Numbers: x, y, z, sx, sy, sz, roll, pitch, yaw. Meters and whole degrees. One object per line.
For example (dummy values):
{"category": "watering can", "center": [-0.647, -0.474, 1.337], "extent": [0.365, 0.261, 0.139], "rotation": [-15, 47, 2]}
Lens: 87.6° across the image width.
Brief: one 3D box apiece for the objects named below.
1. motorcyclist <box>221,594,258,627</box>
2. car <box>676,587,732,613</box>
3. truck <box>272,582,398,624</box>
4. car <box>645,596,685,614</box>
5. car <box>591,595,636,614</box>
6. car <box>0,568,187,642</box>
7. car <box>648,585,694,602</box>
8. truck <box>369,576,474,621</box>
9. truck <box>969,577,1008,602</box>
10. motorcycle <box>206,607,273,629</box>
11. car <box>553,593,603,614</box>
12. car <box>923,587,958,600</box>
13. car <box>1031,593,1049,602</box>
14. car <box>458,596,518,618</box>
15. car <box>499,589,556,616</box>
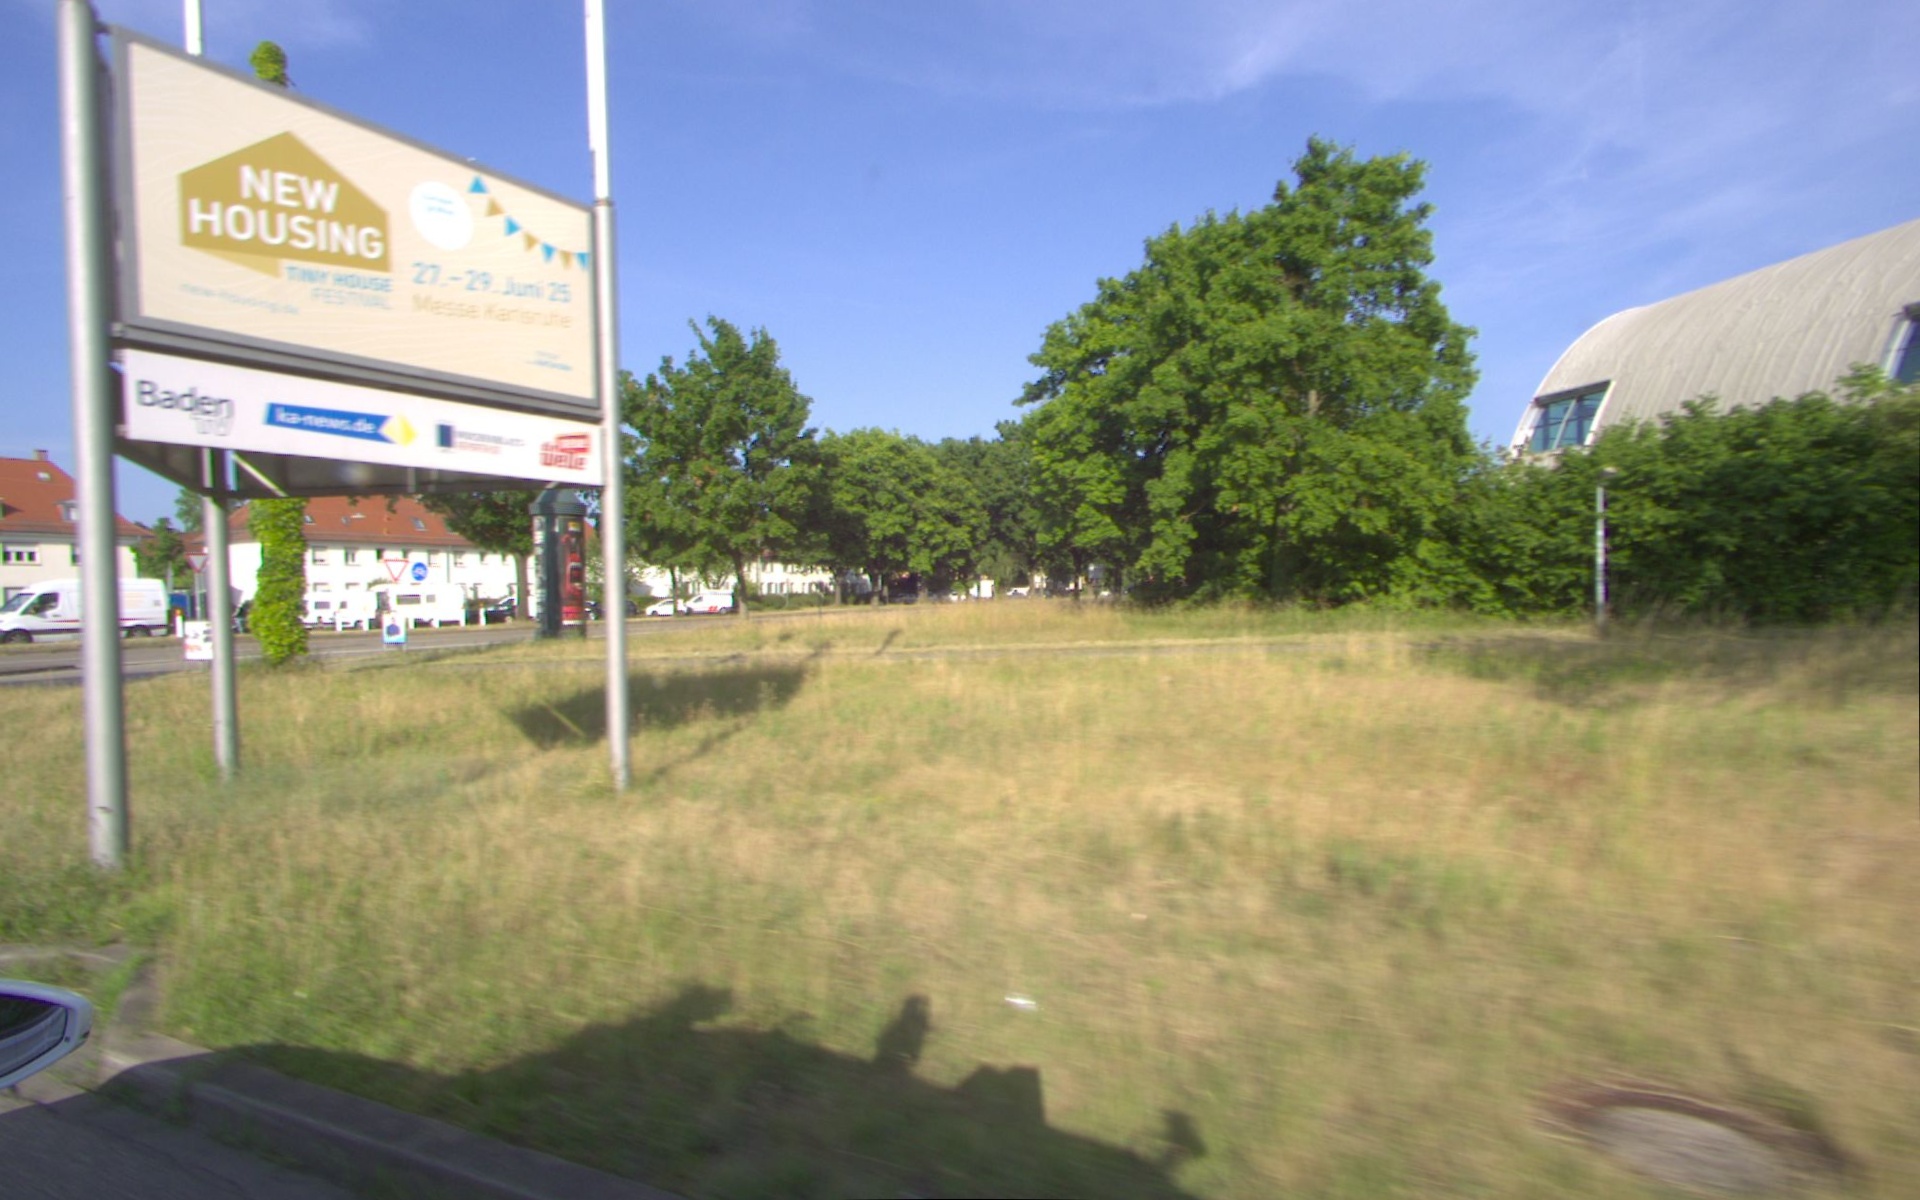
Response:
{"category": "motorcyclist", "center": [-30.720, 0.454, 42.713], "extent": [0.669, 1.370, 1.065], "rotation": [0, 1, 26]}
{"category": "car", "center": [-24.070, -0.038, 94.131], "extent": [4.892, 2.262, 1.995], "rotation": [-1, 1, -19]}
{"category": "truck", "center": [-38.756, 0.172, 62.255], "extent": [6.236, 2.558, 2.276], "rotation": [0, 1, -8]}
{"category": "car", "center": [-26.149, 0.433, 88.864], "extent": [3.370, 1.534, 1.893], "rotation": [-1, 1, -15]}
{"category": "car", "center": [-29.464, 0.382, 85.245], "extent": [3.370, 1.534, 1.893], "rotation": [-1, 1, -15]}
{"category": "car", "center": [-33.809, 0.157, 38.471], "extent": [1.969, 2.618, 6.202], "rotation": [0, 1, 27]}
{"category": "car", "center": [-32.114, -0.696, 111.285], "extent": [4.901, 1.742, 1.992], "rotation": [-1, 1, 27]}
{"category": "truck", "center": [-36.426, -0.128, 67.919], "extent": [5.973, 2.893, 1.891], "rotation": [-1, 1, -19]}
{"category": "truck", "center": [4.184, -1.571, 148.444], "extent": [5.414, 3.512, 1.993], "rotation": [-1, 1, -23]}
{"category": "motorcycle", "center": [-30.713, 0.758, 42.739], "extent": [0.680, 0.878, 2.270], "rotation": [0, 1, 26]}
{"category": "car", "center": [-30.386, 0.283, 79.762], "extent": [3.436, 1.534, 1.893], "rotation": [-1, 1, -15]}
{"category": "car", "center": [-2.703, -0.905, 137.134], "extent": [4.459, 1.746, 1.996], "rotation": [-1, 1, -16]}
{"category": "car", "center": [12.750, -0.434, 158.833], "extent": [1.687, 1.372, 3.987], "rotation": [-1, 1, 24]}
{"category": "car", "center": [-34.646, 0.492, 73.631], "extent": [3.844, 1.475, 1.890], "rotation": [-1, 1, -22]}
{"category": "car", "center": [-33.033, 0.198, 76.596], "extent": [3.841, 1.946, 1.891], "rotation": [-1, 1, -19]}
